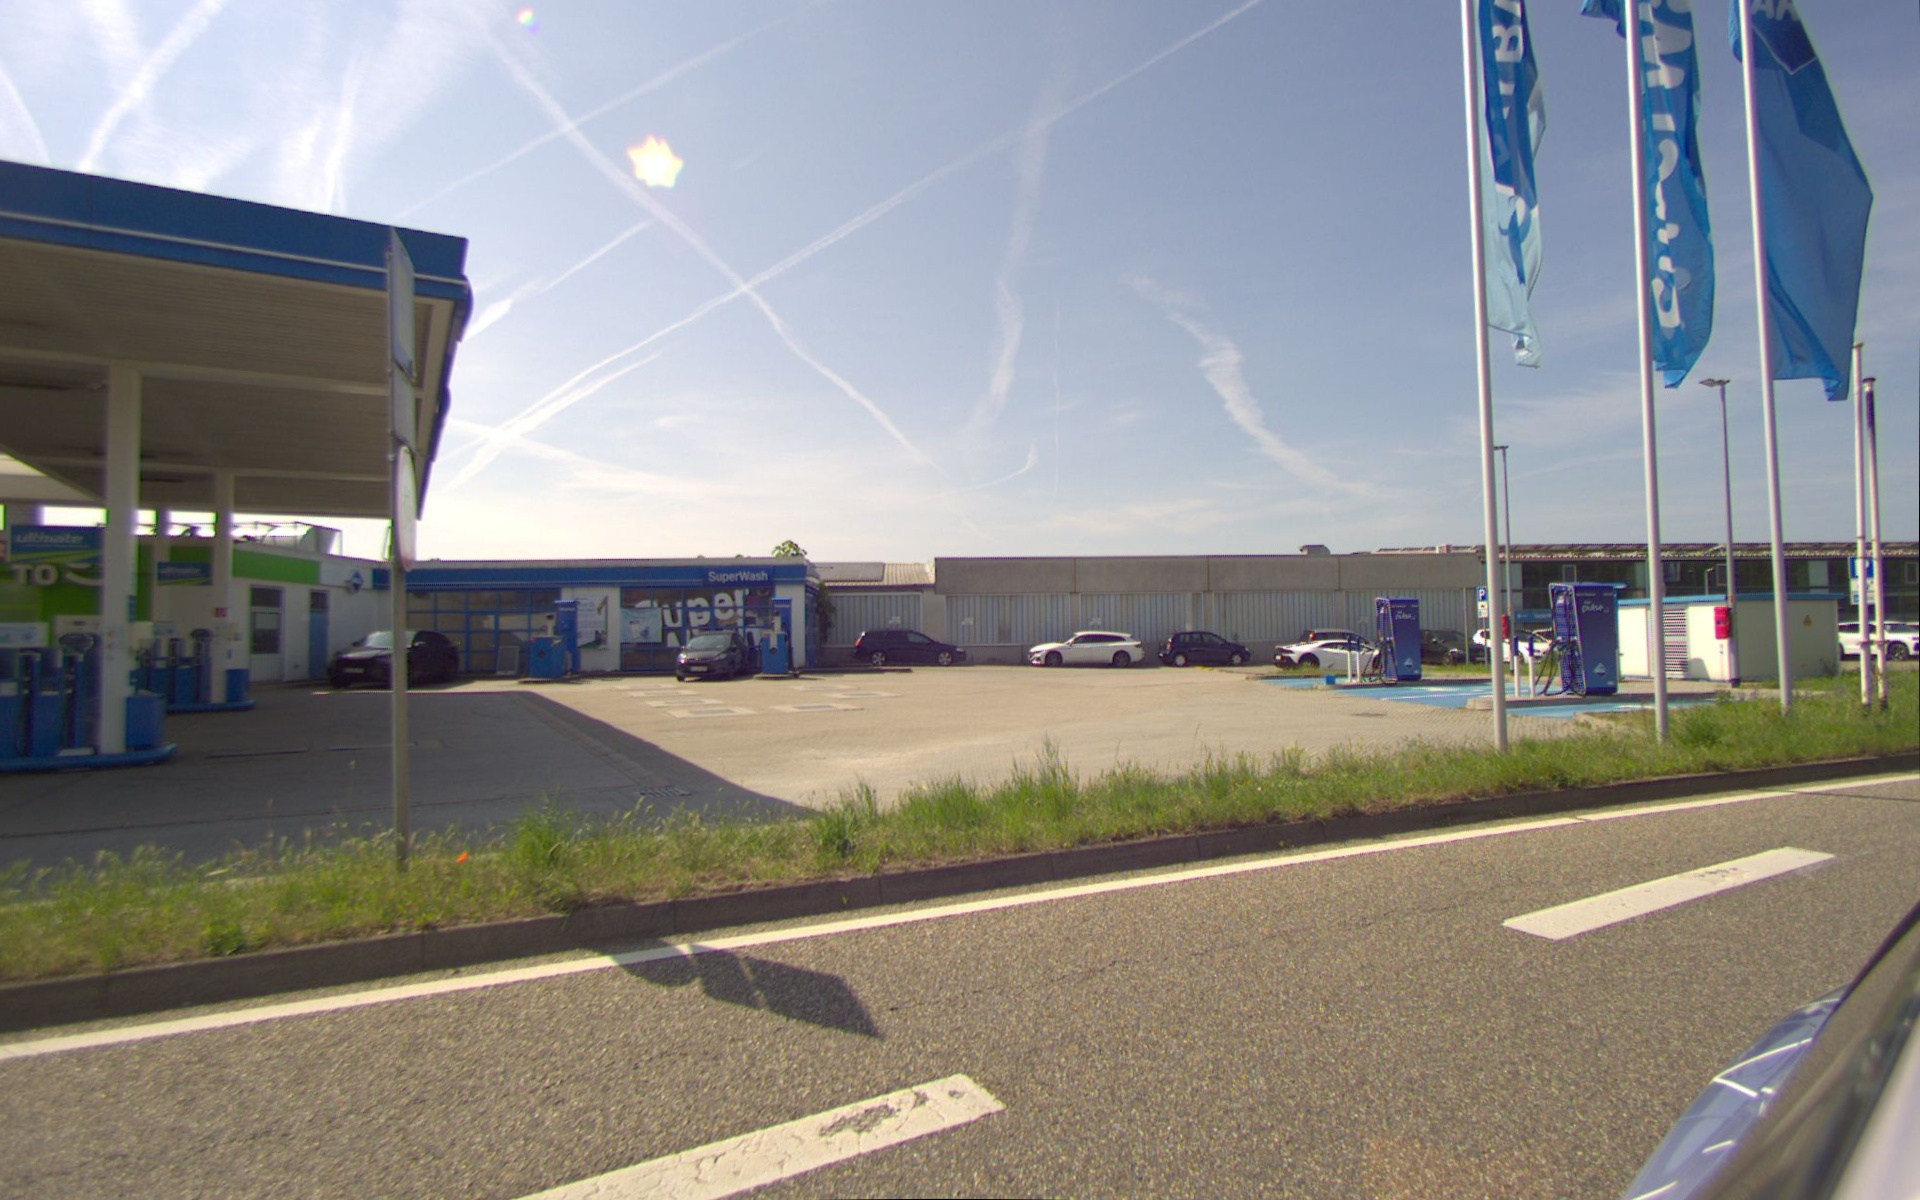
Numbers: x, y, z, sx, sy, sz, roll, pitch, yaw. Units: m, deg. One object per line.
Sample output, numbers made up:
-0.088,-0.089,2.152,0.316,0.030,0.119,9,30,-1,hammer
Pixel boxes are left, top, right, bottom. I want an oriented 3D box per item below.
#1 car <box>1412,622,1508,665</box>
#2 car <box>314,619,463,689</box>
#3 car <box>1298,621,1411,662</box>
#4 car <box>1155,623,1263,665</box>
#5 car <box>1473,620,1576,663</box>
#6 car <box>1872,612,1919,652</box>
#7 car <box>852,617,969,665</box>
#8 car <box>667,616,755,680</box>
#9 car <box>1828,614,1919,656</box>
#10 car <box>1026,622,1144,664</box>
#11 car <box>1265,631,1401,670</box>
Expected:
19.931,1.687,40.541,1.855,1.625,4.019,-1,-1,1,car
-16.812,1.596,30.092,1.866,1.850,4.733,-2,-3,-2,car
16.428,1.730,42.336,3.946,1.625,1.889,-1,-2,2,car
10.313,1.808,42.116,3.943,1.625,1.891,-1,-2,-2,car
22.572,1.634,40.657,1.855,1.625,4.019,-1,-1,1,car
41.013,1.353,42.200,1.787,1.659,4.465,1,-2,-1,car
-2.047,1.632,41.087,4.561,1.849,1.892,-1,-2,-7,car
-7.722,1.453,31.745,1.854,1.849,4.172,-1,-1,-1,car
38.592,1.429,41.666,1.787,1.659,4.465,1,-2,-1,car
5.093,1.760,41.602,4.440,1.625,1.891,-1,-2,-5,car
12.966,1.753,35.317,4.045,1.269,1.699,-1,-1,-2,car
